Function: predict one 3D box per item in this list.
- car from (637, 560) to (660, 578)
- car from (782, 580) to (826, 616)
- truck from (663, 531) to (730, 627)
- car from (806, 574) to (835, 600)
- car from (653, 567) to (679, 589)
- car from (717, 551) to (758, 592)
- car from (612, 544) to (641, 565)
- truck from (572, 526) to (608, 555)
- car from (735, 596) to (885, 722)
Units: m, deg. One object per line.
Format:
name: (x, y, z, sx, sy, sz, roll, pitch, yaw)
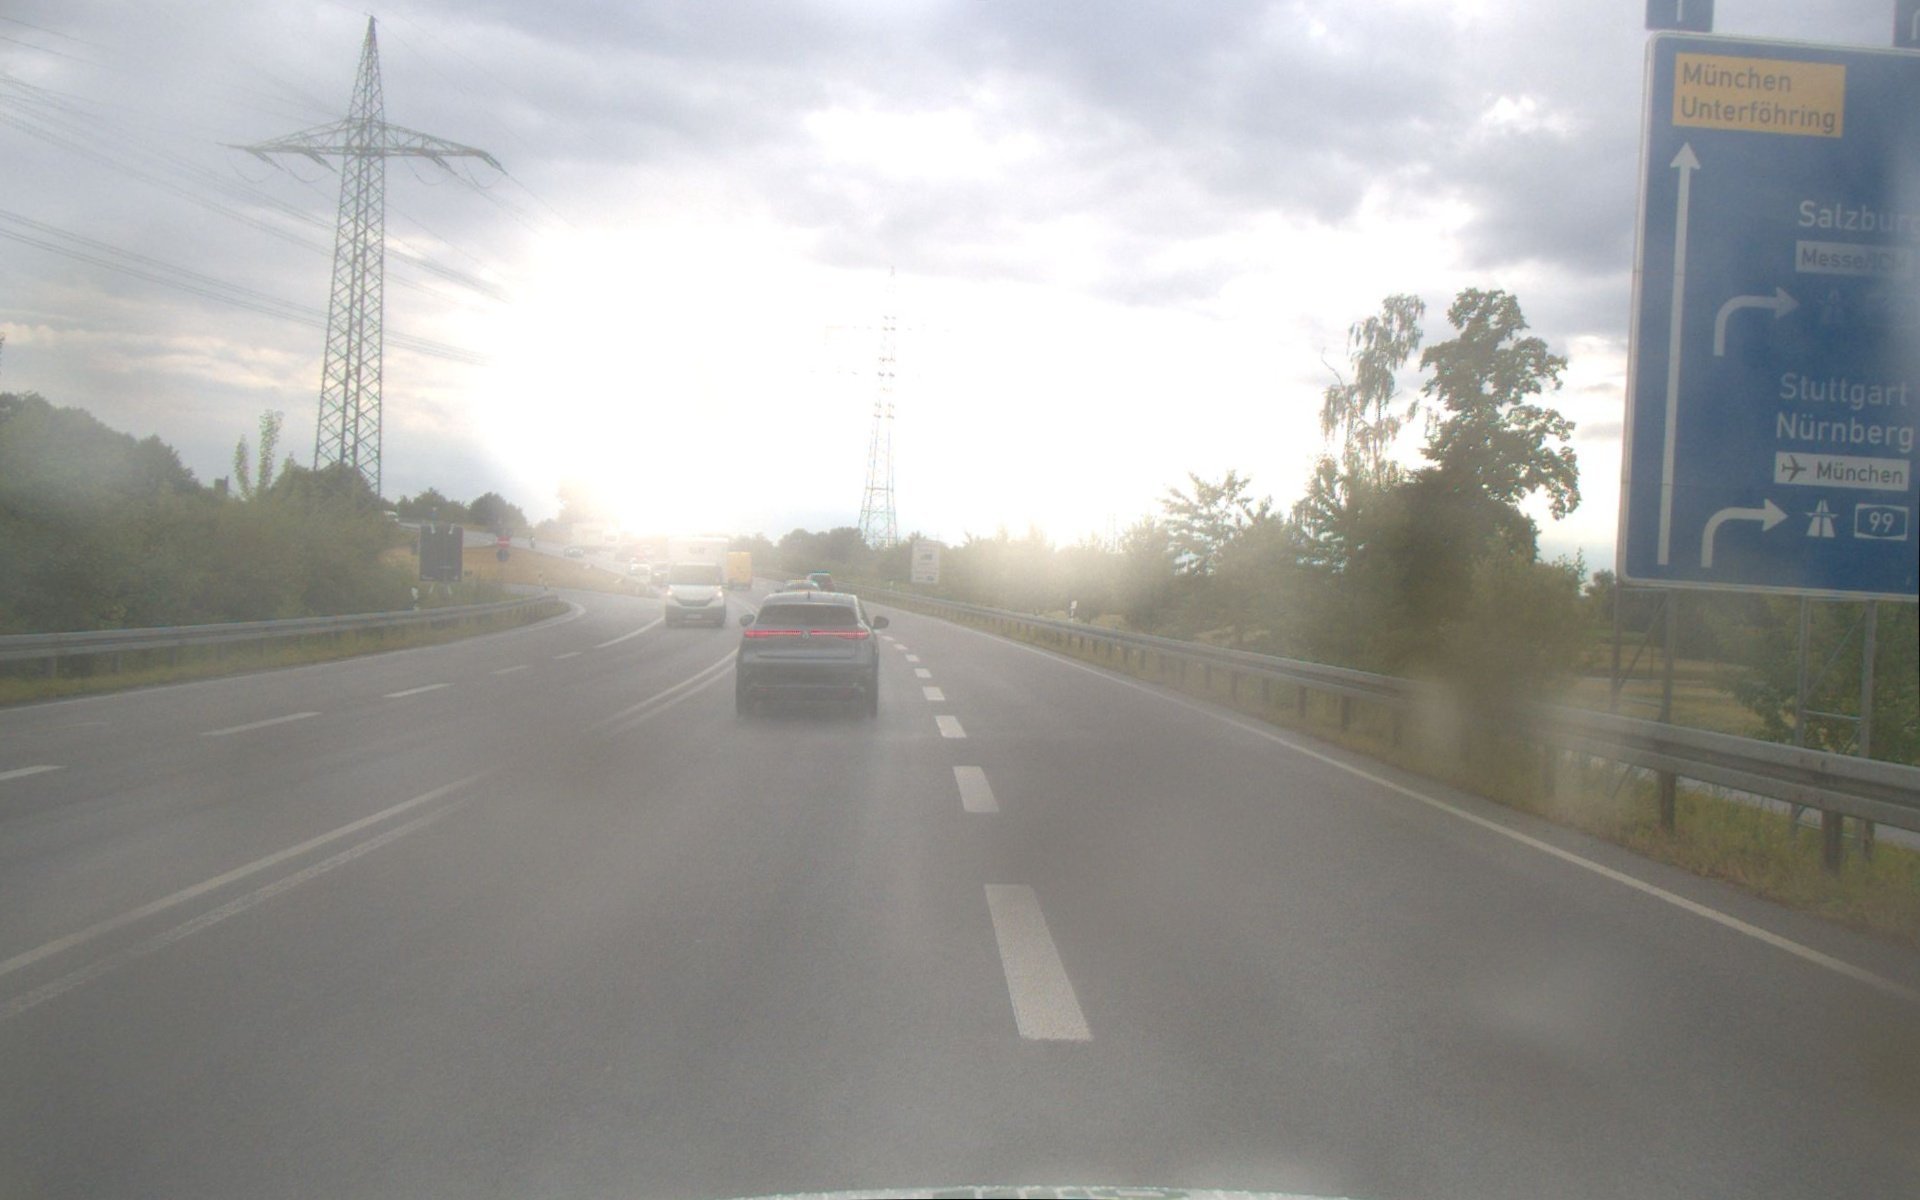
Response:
car: (-27.794, -2.743, 147.333, 1.769, 1.602, 4.244, 0, 0, -14)
car: (-6.582, -0.098, 69.438, 1.757, 1.466, 3.994, 0, 0, -6)
truck: (-9.355, -0.727, 58.725, 2.215, 3.211, 6.675, 0, 0, -9)
car: (-8.627, -0.783, 102.084, 1.757, 1.568, 3.995, 0, 0, -5)
car: (-21.832, -1.606, 122.797, 1.766, 1.602, 4.251, 0, 0, -9)
car: (-15.818, -1.980, 117.186, 2.526, 2.773, 7.179, 1, 0, -10)
car: (-37.303, -5.096, 185.001, 2.561, 2.289, 5.509, 1, 1, -17)
truck: (-46.335, -7.440, 207.036, 3.005, 3.443, 7.591, 1, 1, -23)
car: (-1.869, 0.691, 21.465, 1.756, 1.466, 3.997, 0, 0, -3)
